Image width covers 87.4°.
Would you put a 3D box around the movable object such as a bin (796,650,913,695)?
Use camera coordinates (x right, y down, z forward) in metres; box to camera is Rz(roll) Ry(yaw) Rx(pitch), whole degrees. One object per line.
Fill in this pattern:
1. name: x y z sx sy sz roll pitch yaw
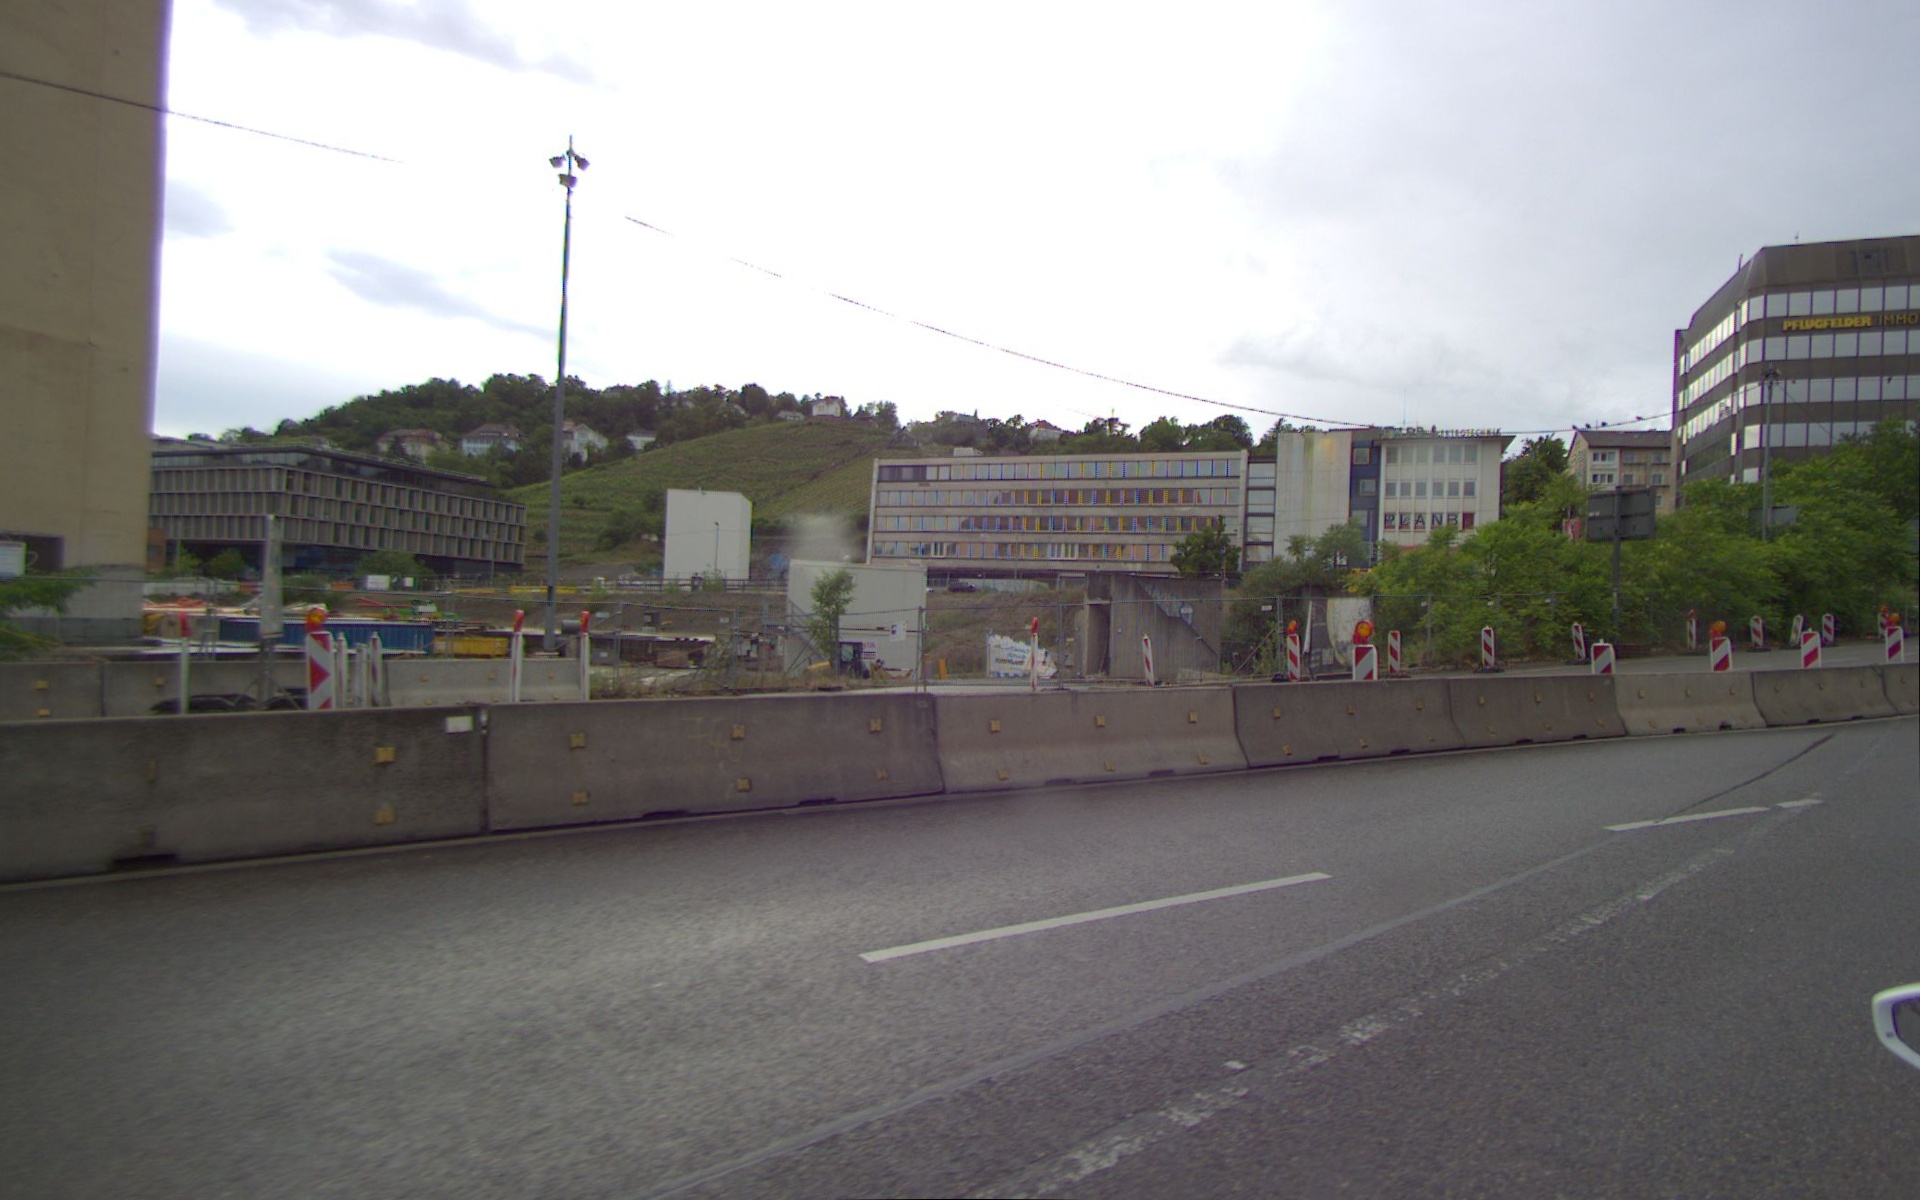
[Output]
1. movable object such as a bin: -4.234 2.914 40.406 4.383 1.698 1.728 2 -1 -22
